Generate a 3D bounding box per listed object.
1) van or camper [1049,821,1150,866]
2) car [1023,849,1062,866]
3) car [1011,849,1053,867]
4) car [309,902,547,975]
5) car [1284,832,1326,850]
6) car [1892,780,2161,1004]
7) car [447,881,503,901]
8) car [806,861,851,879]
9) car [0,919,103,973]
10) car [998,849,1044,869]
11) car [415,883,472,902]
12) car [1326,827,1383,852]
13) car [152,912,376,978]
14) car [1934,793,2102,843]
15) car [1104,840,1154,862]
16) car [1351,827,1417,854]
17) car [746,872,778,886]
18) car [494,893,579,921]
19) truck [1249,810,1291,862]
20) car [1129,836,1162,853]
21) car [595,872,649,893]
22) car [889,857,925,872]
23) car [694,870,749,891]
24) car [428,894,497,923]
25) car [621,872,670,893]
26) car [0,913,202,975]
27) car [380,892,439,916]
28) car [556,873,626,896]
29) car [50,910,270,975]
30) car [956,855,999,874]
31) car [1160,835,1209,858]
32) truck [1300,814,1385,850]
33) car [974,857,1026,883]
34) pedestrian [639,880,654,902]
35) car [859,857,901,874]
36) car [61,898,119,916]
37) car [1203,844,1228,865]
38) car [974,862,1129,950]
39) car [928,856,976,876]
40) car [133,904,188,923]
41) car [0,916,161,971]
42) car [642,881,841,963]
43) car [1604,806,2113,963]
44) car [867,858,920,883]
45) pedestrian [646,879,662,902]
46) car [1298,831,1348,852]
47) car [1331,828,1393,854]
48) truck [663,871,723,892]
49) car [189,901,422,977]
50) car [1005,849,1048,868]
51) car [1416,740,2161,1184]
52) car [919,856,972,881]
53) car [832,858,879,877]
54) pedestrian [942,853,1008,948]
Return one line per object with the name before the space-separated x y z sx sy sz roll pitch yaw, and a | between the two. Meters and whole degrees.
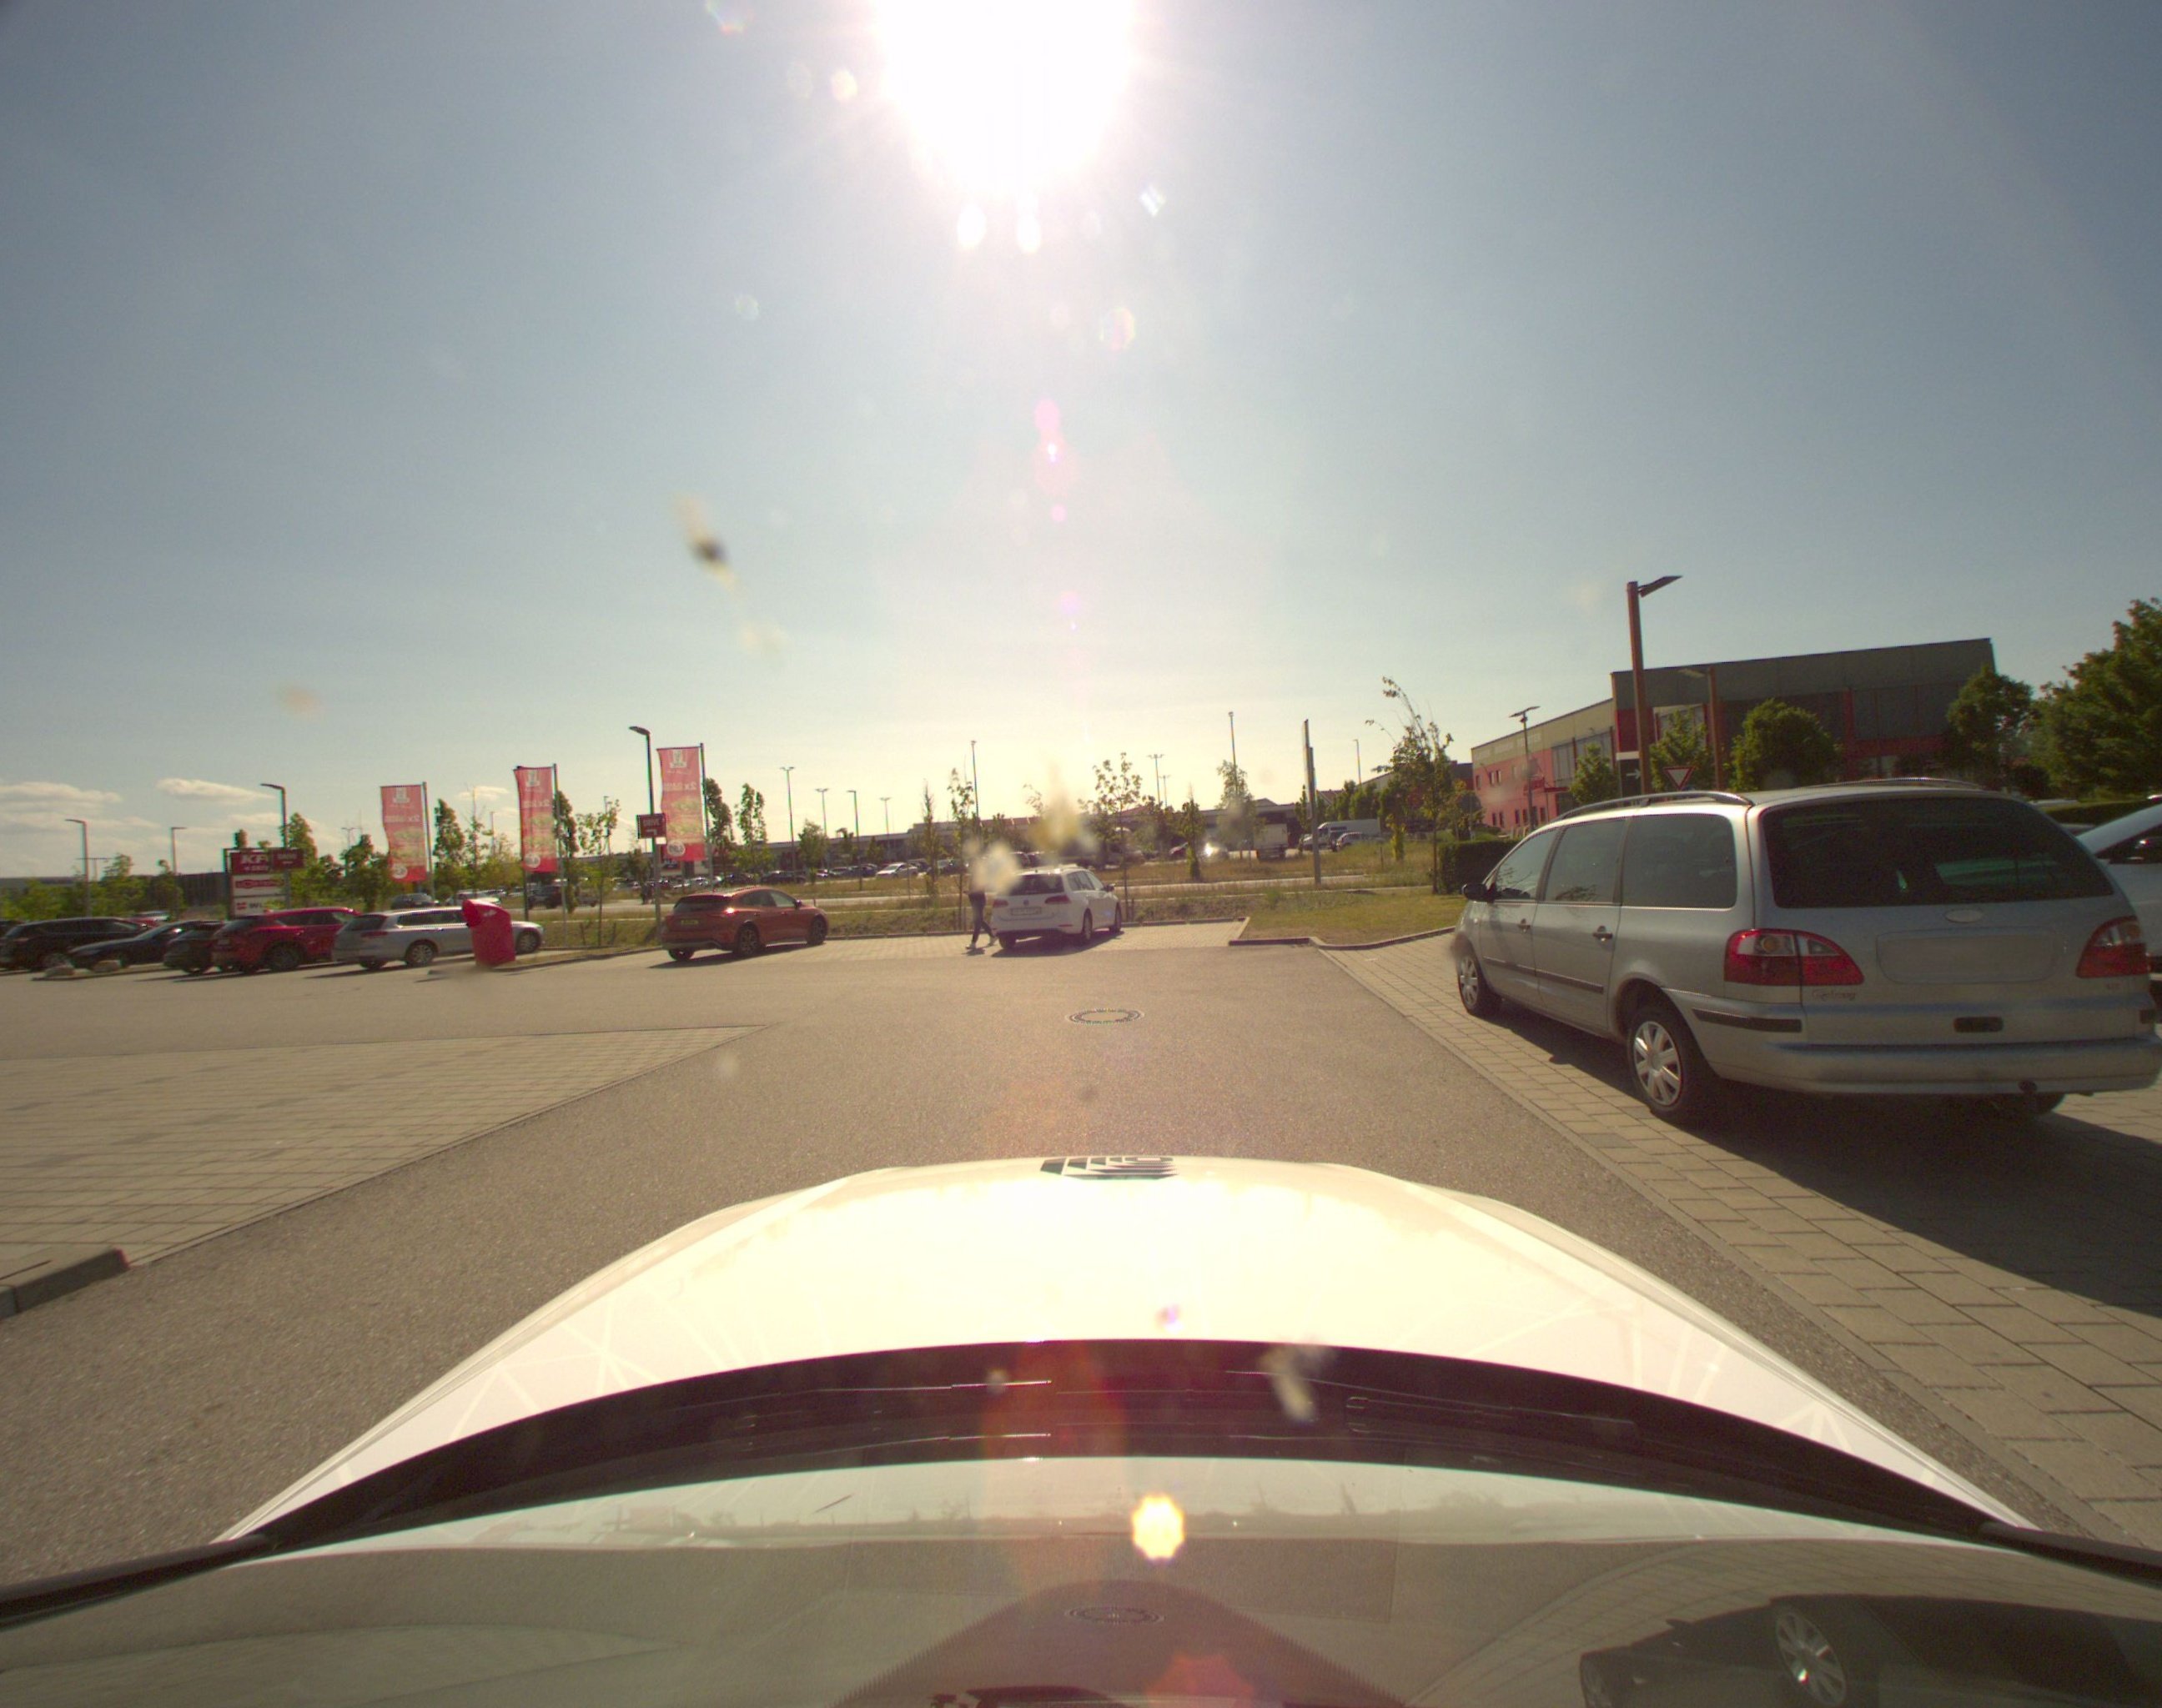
van or camper | 1.367 -0.787 63.445 7.951 3.101 2.435 -3 0 40
car | -4.627 0.399 97.937 4.367 1.855 1.959 -3 0 6
car | -5.475 0.444 92.001 4.367 1.855 1.959 -3 0 6
car | -16.863 2.136 21.372 1.720 1.413 4.624 -4 -1 19
car | 25.624 -1.475 93.214 4.367 1.855 1.959 -3 0 6
car | 9.311 0.211 6.220 4.152 1.654 1.988 -3 0 38
car | -72.173 4.334 97.120 1.978 2.013 5.099 -3 0 17
car | -32.188 2.015 103.849 4.896 2.013 2.084 -3 0 2
car | -40.346 3.513 30.356 1.872 1.760 4.616 -4 -1 24
car | -6.219 0.482 84.786 4.367 1.855 1.959 -3 0 6
car | -77.329 4.657 98.857 1.978 2.013 5.099 -3 0 17
car | 23.751 -1.244 70.882 4.367 1.855 1.959 -3 0 6
car | -23.545 2.583 23.706 1.754 1.410 4.225 -4 -1 17
car | 43.006 -1.612 37.492 4.845 1.954 1.885 -3 -1 12
car | 4.907 -0.311 83.445 4.896 2.013 2.084 -3 0 2
car | 23.435 -1.046 63.066 4.367 1.855 1.959 -3 0 6
car | -41.146 3.212 105.043 3.452 1.552 1.667 -3 0 1
car | -39.901 3.881 59.701 5.174 1.731 1.995 -3 0 10
truck | 13.940 -1.311 60.289 2.741 3.480 6.856 -3 0 12
car | 8.266 -1.180 104.737 3.963 2.013 2.005 -3 0 9
car | -50.916 3.122 90.449 1.978 2.013 5.202 -3 0 17
car | -24.136 1.405 112.876 4.367 1.855 1.959 -3 0 6
car | -35.919 2.656 81.575 1.975 1.846 4.761 -3 0 27
car | -44.790 3.963 58.967 4.353 1.845 2.011 -3 0 23
car | -46.877 3.047 87.690 1.974 2.013 4.116 -3 0 30
car | -34.851 3.150 29.009 1.874 1.703 4.354 -4 -1 19
car | -52.970 3.960 64.251 4.545 1.664 1.890 -3 0 27
car | -55.812 3.454 92.889 2.784 2.237 6.344 -3 0 20
car | -30.390 2.863 27.067 1.872 1.638 4.477 -4 -1 26
car | -11.576 1.131 91.093 4.367 1.855 1.959 -3 0 6
car | 9.470 -0.701 74.571 4.231 1.855 1.873 -3 0 6
truck | 23.585 -1.955 73.660 6.999 2.814 1.959 -3 0 6
car | -6.586 1.273 66.447 1.930 1.855 4.432 -3 0 30
pedestrian | -31.649 2.690 59.346 0.658 1.556 0.630 -3 0 32
car | -24.680 1.434 100.125 4.535 1.855 1.959 -3 0 6
car | -110.156 5.893 90.573 1.699 1.597 3.675 -3 0 8
car | 10.184 -0.011 61.625 1.639 1.459 3.979 -3 0 12
car | -0.426 0.947 16.606 1.813 1.469 4.499 -4 -1 15
car | -13.093 1.209 83.028 4.367 1.855 1.959 -3 0 6
car | -83.203 5.390 73.616 4.599 1.526 2.012 -3 0 25
car | -37.501 3.279 30.157 1.873 1.609 4.103 -3 -1 22
car | -7.512 1.460 18.563 1.813 1.469 4.371 -4 -1 15
car | 9.122 0.335 10.038 4.154 1.526 1.987 -3 0 44
car | -16.250 1.412 70.801 1.974 1.855 4.313 -3 0 30
pedestrian | -30.885 2.669 58.879 0.747 1.599 0.697 -3 0 32
car | 24.001 -1.255 80.931 4.367 1.855 1.959 -3 0 6
car | 22.728 -1.010 65.900 4.367 1.855 1.959 -3 0 6
truck | -40.165 2.820 84.400 1.975 1.863 5.466 -3 0 26
car | -21.432 2.298 22.766 1.928 1.638 4.252 -4 -1 19
car | -5.992 0.470 89.702 4.367 1.855 1.959 -3 0 6
car | 4.023 0.449 5.666 1.818 1.748 4.692 -4 0 6
car | -11.408 1.163 68.606 1.930 1.855 4.432 -3 0 30
car | -25.467 1.475 92.027 4.535 1.855 1.959 -3 0 6
pedestrian | -2.130 0.919 16.373 0.999 1.809 0.718 -2 -2 -37
